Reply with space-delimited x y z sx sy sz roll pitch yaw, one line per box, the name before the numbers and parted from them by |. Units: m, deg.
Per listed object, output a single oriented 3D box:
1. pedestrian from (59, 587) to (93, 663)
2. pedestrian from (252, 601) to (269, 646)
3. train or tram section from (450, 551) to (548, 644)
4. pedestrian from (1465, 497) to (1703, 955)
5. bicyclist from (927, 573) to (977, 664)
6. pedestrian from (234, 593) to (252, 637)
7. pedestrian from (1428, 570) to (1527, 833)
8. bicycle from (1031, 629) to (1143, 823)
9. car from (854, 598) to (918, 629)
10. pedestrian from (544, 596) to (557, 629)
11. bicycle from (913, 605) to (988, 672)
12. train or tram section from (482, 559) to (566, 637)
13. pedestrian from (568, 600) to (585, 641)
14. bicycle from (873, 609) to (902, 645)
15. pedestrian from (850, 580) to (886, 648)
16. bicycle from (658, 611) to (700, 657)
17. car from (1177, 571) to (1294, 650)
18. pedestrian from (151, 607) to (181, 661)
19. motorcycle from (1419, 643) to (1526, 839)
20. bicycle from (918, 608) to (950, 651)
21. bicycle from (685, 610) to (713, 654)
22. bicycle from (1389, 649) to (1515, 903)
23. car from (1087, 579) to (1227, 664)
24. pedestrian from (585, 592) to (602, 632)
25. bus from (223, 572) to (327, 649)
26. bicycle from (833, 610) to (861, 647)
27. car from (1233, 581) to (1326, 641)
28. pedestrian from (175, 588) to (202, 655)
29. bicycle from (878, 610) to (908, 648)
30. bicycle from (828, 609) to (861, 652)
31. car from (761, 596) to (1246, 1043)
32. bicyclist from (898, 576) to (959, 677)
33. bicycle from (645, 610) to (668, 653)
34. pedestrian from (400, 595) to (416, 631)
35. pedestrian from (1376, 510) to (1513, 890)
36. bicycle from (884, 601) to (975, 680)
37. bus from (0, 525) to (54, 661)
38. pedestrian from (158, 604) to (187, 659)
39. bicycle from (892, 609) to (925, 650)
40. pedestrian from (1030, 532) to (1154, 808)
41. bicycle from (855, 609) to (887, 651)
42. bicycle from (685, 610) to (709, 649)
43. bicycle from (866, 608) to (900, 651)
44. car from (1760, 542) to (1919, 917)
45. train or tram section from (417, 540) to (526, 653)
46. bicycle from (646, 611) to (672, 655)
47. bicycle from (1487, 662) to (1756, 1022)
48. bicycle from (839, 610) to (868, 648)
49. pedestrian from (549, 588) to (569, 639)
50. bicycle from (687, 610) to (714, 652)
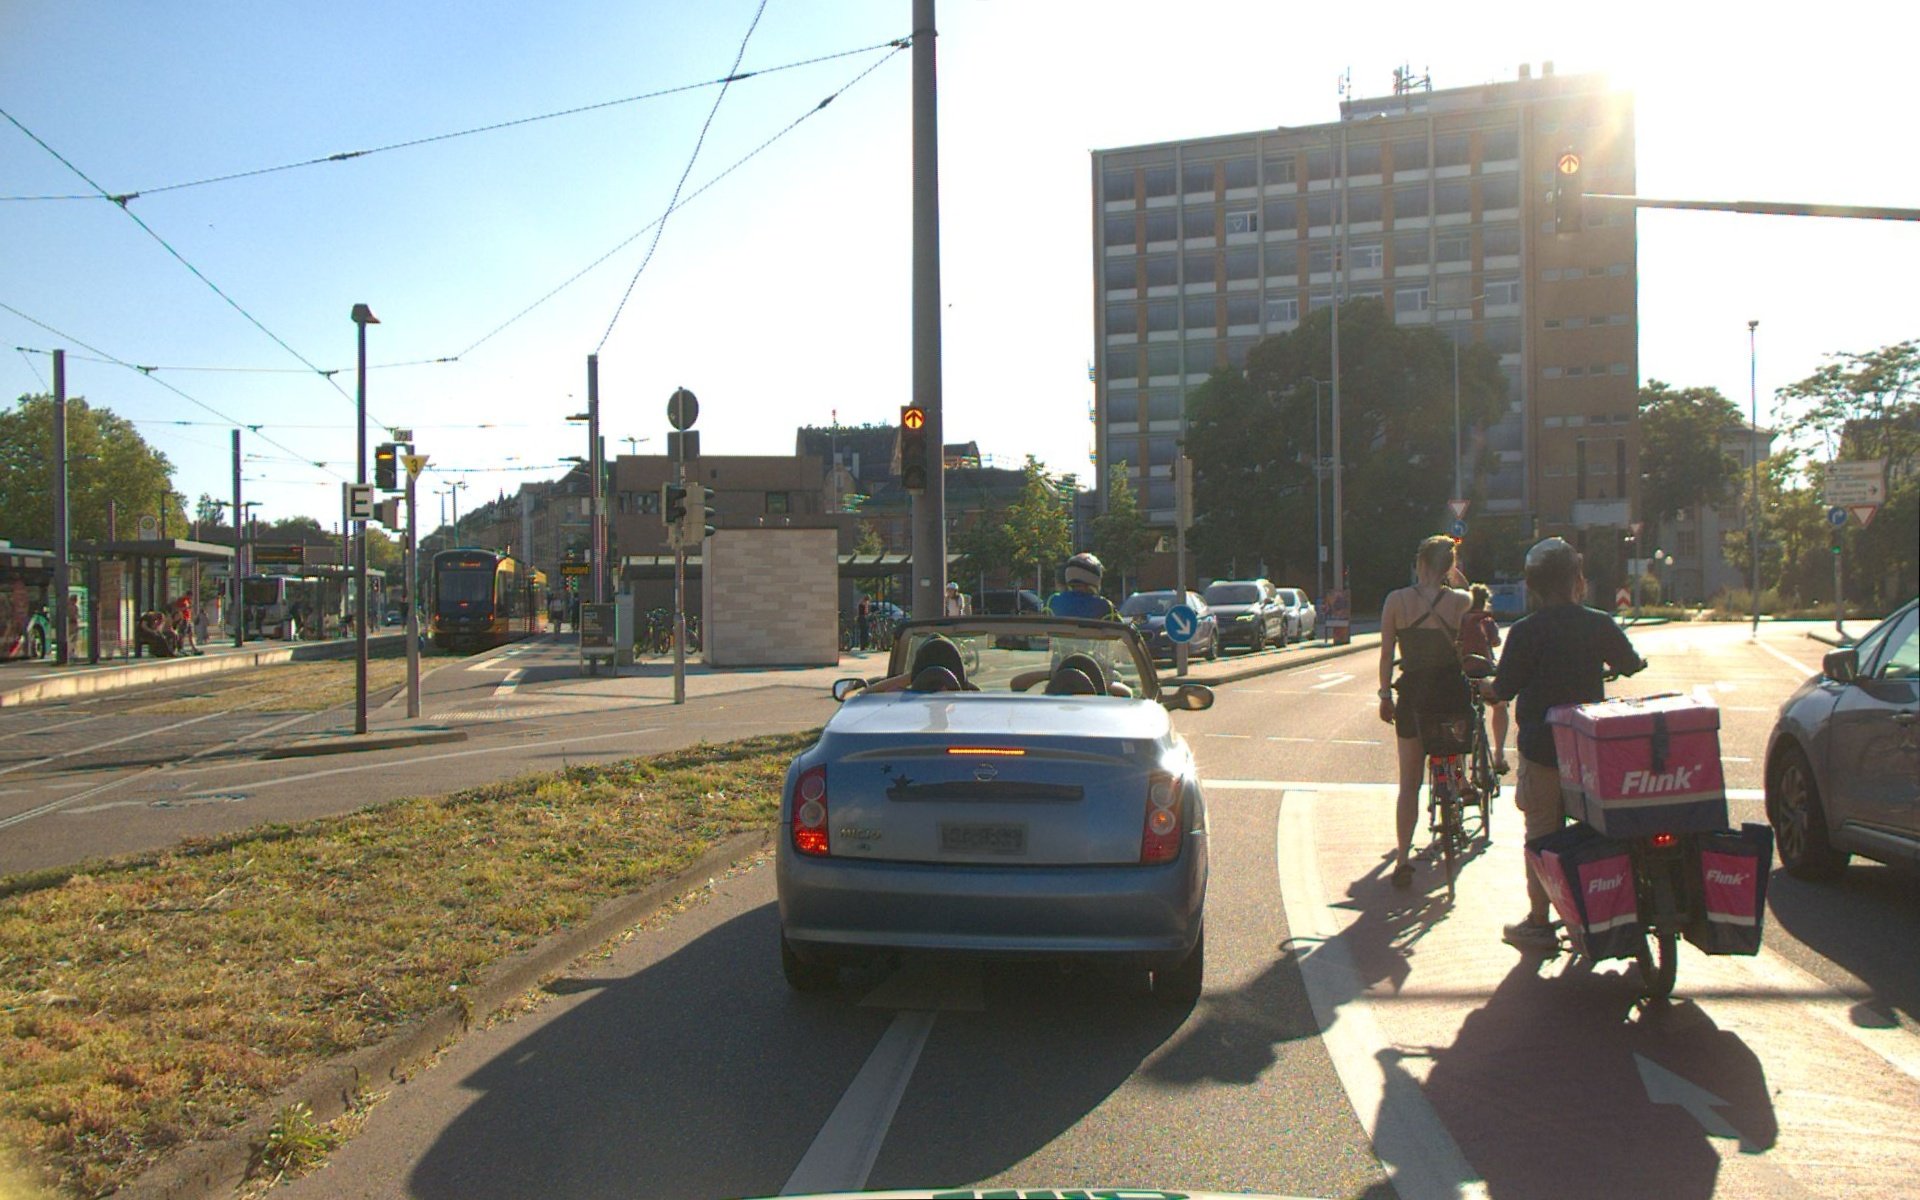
pedestrian | -20.992 0.591 39.287 0.527 1.779 0.559 -1 0 -6
pedestrian | -27.900 0.923 65.946 0.562 1.779 0.636 -1 0 -20
train or tram section | -19.979 -0.082 72.359 2.957 3.659 12.169 1 0 -10
pedestrian | 2.763 0.523 7.423 0.789 1.901 0.957 1 -1 8
bicyclist | -0.155 0.349 31.471 0.694 1.686 0.743 -1 0 21
pedestrian | -29.280 0.618 67.567 0.630 1.779 0.567 -1 0 -27
pedestrian | 3.382 0.631 10.847 0.575 1.626 1.025 1 -1 16
bicycle | 0.953 0.831 11.895 0.595 1.212 2.416 1 0 9
car | -3.983 0.742 88.608 1.629 1.588 3.549 -1 0 -39
pedestrian | -22.150 0.657 89.520 0.593 1.779 0.830 -1 0 -8
bicycle | -0.155 0.712 31.444 0.660 1.201 2.183 -1 0 21
train or tram section | -22.044 -0.067 84.254 2.984 3.659 12.024 1 0 -10
pedestrian | -16.792 0.884 72.366 0.628 1.779 0.732 -1 0 -19
bicycle | -2.337 0.868 53.186 0.596 1.134 1.890 1 0 -13
pedestrian | -2.597 0.405 46.802 0.885 1.901 0.685 1 -1 -13
bicycle | -7.183 0.858 42.334 0.594 1.134 1.898 1 0 5
car | 6.703 0.233 39.838 1.726 1.736 4.529 -2 -1 23
pedestrian | -20.093 0.858 41.865 0.606 1.364 0.438 -1 0 -18
motorcycle | 3.420 0.874 11.109 0.600 1.117 2.361 1 0 16
bicycle | -0.730 0.808 45.535 0.595 1.134 1.892 1 0 -10
bicycle | -6.988 0.845 44.273 0.596 1.134 1.890 1 0 -13
bicycle | 2.638 0.881 8.995 0.552 1.171 1.951 1 0 14
car | 4.073 0.425 33.680 1.702 1.601 3.921 1 0 25
pedestrian | -16.182 0.526 73.053 0.628 1.779 0.732 -1 0 -19
bus | -32.733 0.469 79.551 2.675 3.331 13.413 1 0 -14
bicycle | -3.622 0.899 52.958 0.596 1.134 1.890 1 0 -13
car | 9.013 0.282 46.454 1.661 1.588 3.977 -1 0 25
pedestrian | -20.706 0.583 44.403 0.561 1.779 0.637 -1 0 -17
bicycle | -2.087 0.886 51.218 0.596 1.134 1.890 1 0 -13
bicycle | -3.161 0.825 45.054 0.596 1.134 1.890 1 0 -13
car | 0.355 0.746 7.678 1.625 1.466 4.157 1 0 6
bicyclist | -0.542 0.456 28.757 0.694 1.686 0.901 -3 -1 21
bicycle | -8.423 0.862 45.845 0.596 1.134 1.891 1 0 -11
pedestrian | -27.256 0.653 81.648 0.630 1.779 0.567 -1 0 -27
pedestrian | 2.560 0.500 8.807 0.645 1.901 0.873 1 -1 14
bicycle | -0.504 0.676 28.826 0.660 1.272 2.457 -3 -1 21
bus | -23.560 -0.177 37.167 2.606 3.190 9.619 1 0 -10
pedestrian | -20.251 0.804 42.545 0.561 1.369 0.637 -1 0 -17
bicycle | -1.495 0.831 47.540 0.596 1.134 1.890 1 0 -13
pedestrian | 0.969 0.486 11.964 0.815 1.901 0.921 1 -1 8
bicycle | -2.558 0.844 47.135 0.596 1.134 1.890 1 0 -13
bicycle | -7.978 0.894 50.195 0.596 1.134 1.890 1 0 -13
bicycle | -2.110 0.797 45.211 0.596 1.134 1.890 1 0 -13
car | 5.286 0.607 7.396 1.792 1.719 4.372 1 0 8
train or tram section | -17.645 -0.104 60.405 2.831 3.659 12.161 1 0 -12
bicycle | -7.991 0.861 43.927 0.596 1.134 1.890 1 0 -13
bicycle | 2.728 0.900 7.070 0.542 1.192 2.374 1 0 9
bicycle | -3.292 0.883 50.996 0.596 1.134 1.890 1 0 -13
pedestrian | -14.149 0.487 58.345 0.628 1.779 0.569 -1 0 -19
bicycle | -7.278 0.863 46.332 0.596 1.134 1.890 1 0 -13
